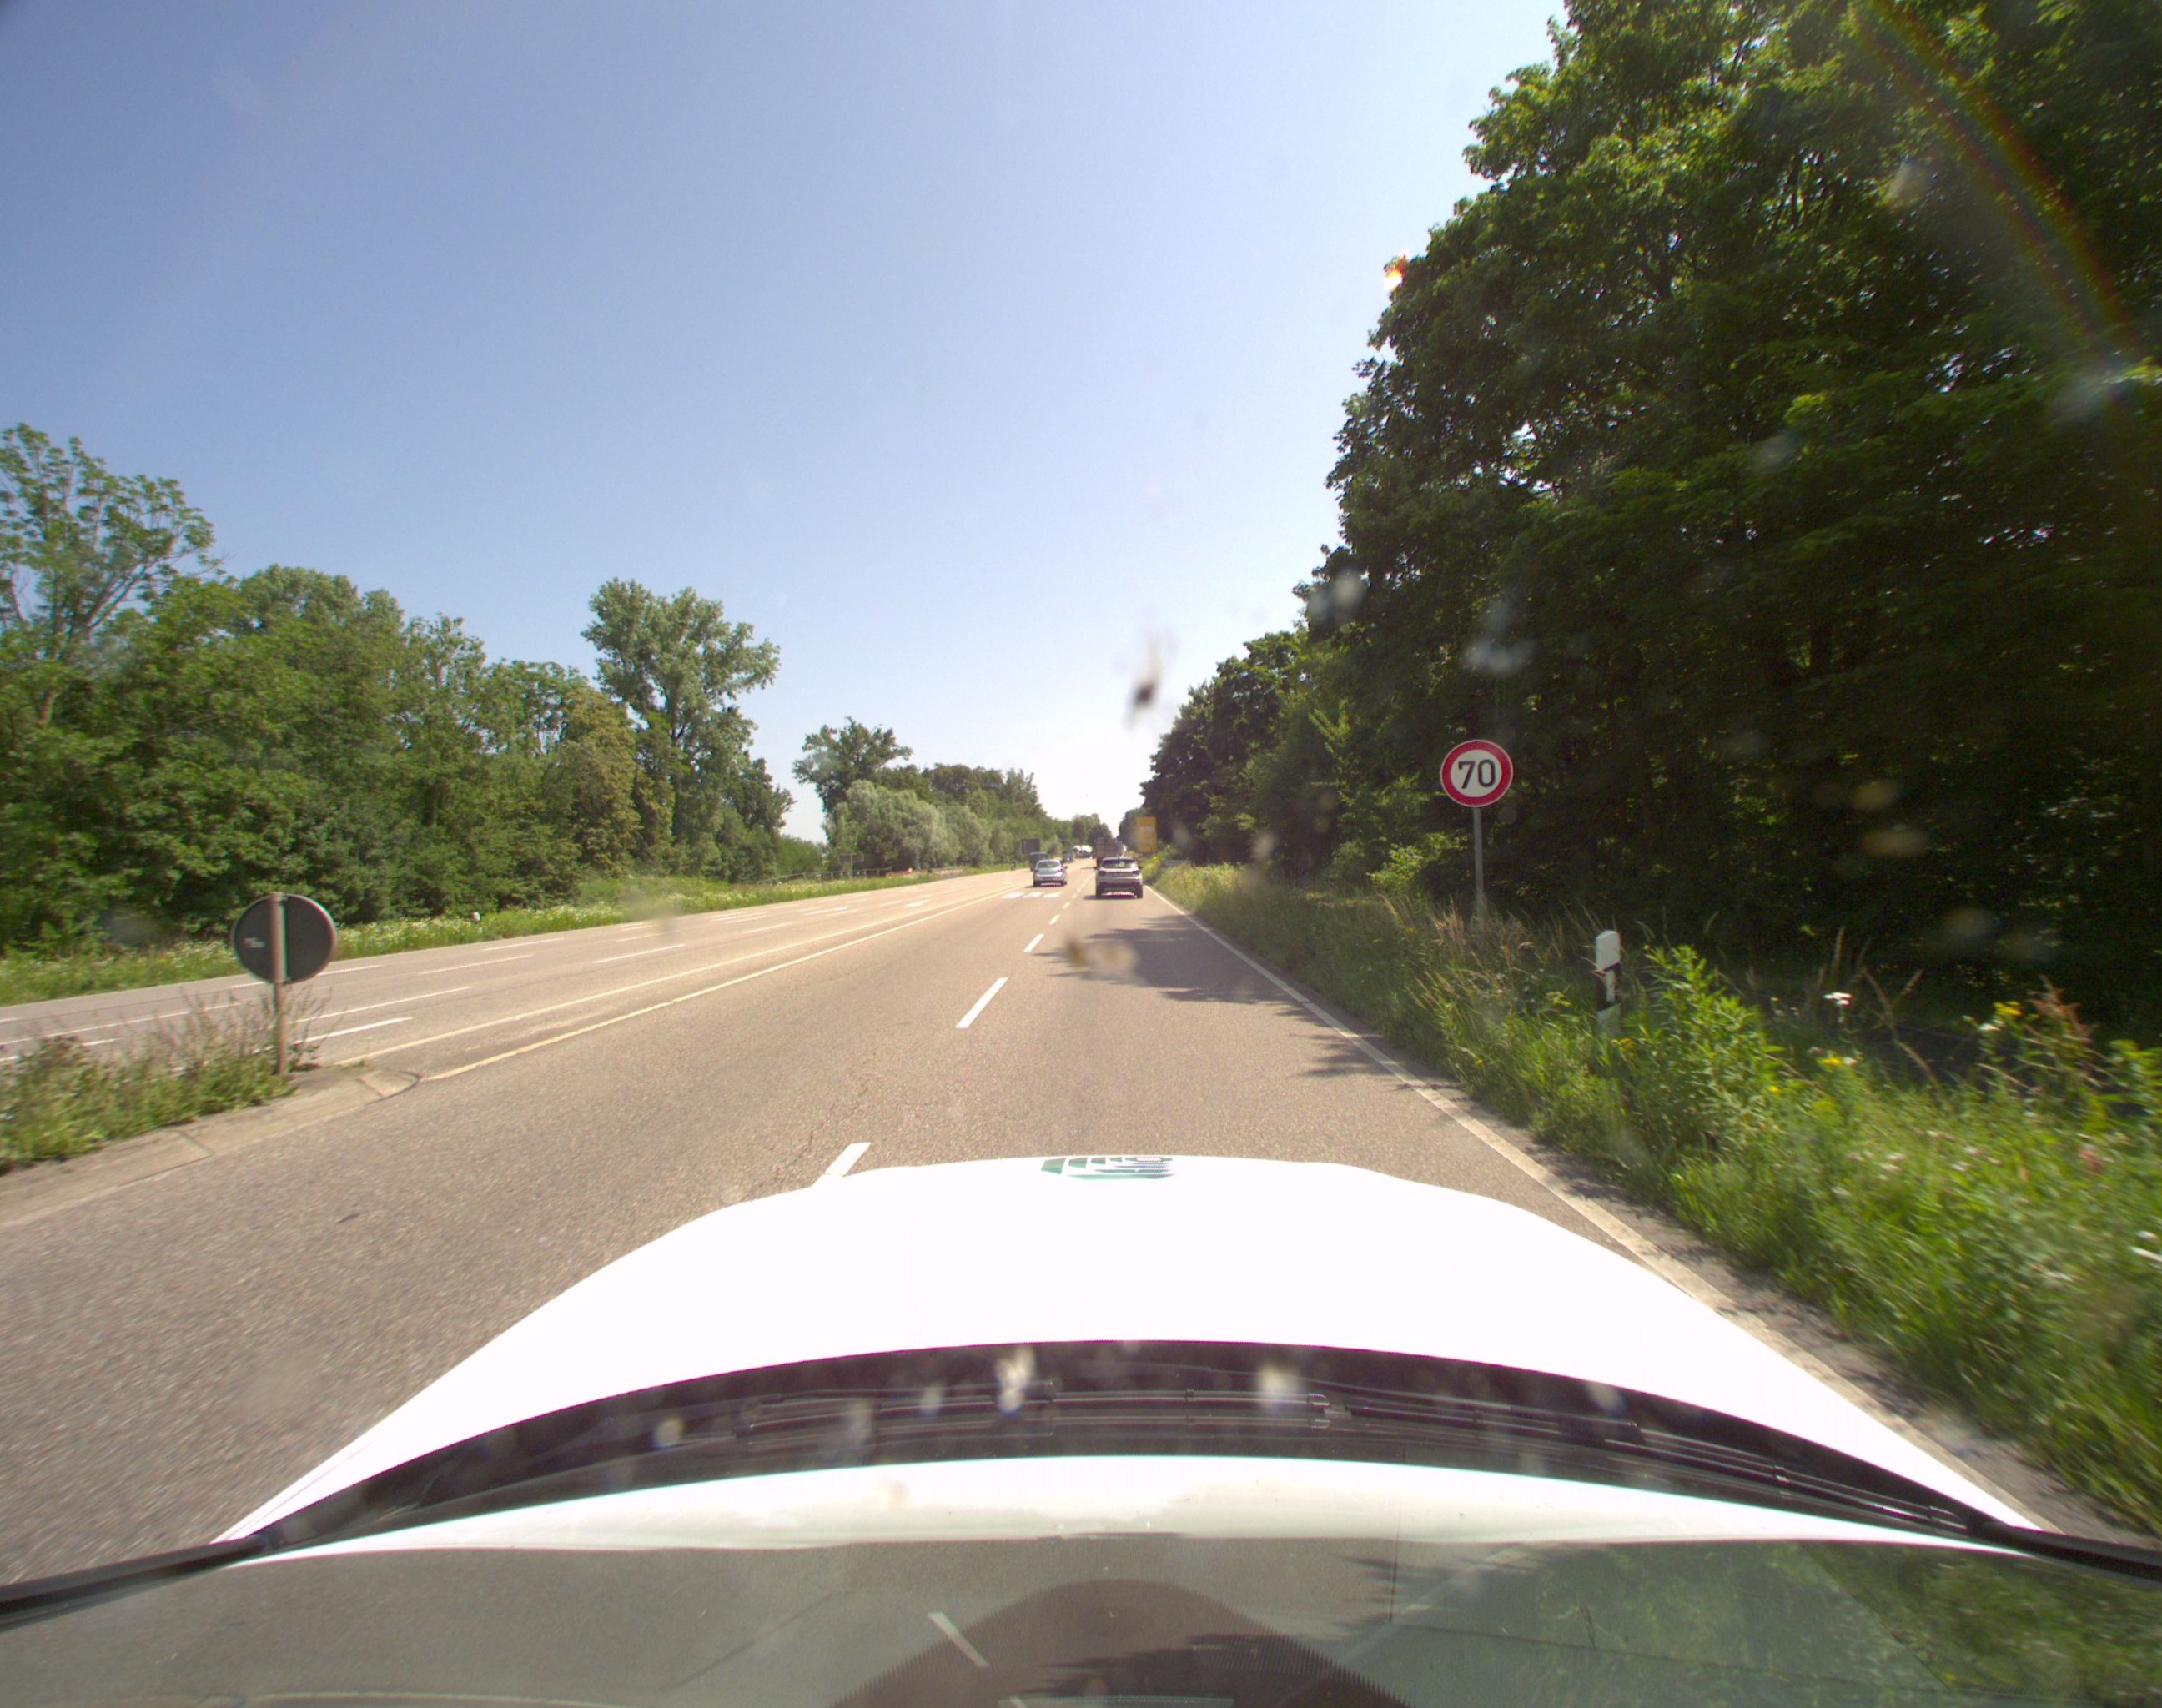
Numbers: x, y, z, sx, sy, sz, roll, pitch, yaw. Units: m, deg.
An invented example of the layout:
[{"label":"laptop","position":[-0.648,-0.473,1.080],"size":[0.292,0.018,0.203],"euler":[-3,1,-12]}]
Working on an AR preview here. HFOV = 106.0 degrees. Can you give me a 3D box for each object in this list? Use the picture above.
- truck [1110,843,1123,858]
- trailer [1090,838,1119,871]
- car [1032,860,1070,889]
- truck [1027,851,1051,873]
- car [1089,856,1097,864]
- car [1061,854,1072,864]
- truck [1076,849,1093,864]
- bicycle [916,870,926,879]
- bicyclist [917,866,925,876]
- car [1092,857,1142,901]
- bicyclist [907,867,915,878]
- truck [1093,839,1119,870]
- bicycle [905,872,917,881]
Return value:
[{"label":"truck","position":[10.235,-1.039,236.926],"size":[3.484,4.188,10.788],"euler":[-1,-1,2]},{"label":"trailer","position":[3.132,0.099,105.293],"size":[3.368,3.989,10.813],"euler":[-1,-1,3]},{"label":"car","position":[-1.587,1.081,44.182],"size":[1.658,1.430,3.831],"euler":[-1,0,3]},{"label":"truck","position":[-5.694,1.078,112.275],"size":[2.444,2.656,6.496],"euler":[-5,0,3]},{"label":"car","position":[3.275,1.627,222.079],"size":[1.988,2.013,4.550],"euler":[-3,0,-2]},{"label":"car","position":[-3.014,1.027,172.135],"size":[1.986,1.882,4.962],"euler":[-3,0,2]},{"label":"truck","position":[0.918,0.837,246.371],"size":[3.644,4.105,9.482],"euler":[-3,0,-8]},{"label":"bicycle","position":[-20.044,2.544,102.112],"size":[0.600,1.006,1.561],"euler":[-4,-1,14]},{"label":"bicyclist","position":[-20.076,2.182,102.127],"size":[0.730,1.195,0.594],"euler":[-4,-1,13]},{"label":"car","position":[1.426,0.928,31.595],"size":[1.760,1.535,4.003],"euler":[-2,0,3]},{"label":"bicyclist","position":[-20.509,2.240,98.187],"size":[0.752,1.195,0.594],"euler":[-4,0,13]},{"label":"truck","position":[3.435,0.098,110.326],"size":[3.319,3.989,6.539],"euler":[-1,-1,3]},{"label":"bicycle","position":[-20.452,2.732,98.286],"size":[0.671,1.005,1.806],"euler":[-4,0,12]}]
